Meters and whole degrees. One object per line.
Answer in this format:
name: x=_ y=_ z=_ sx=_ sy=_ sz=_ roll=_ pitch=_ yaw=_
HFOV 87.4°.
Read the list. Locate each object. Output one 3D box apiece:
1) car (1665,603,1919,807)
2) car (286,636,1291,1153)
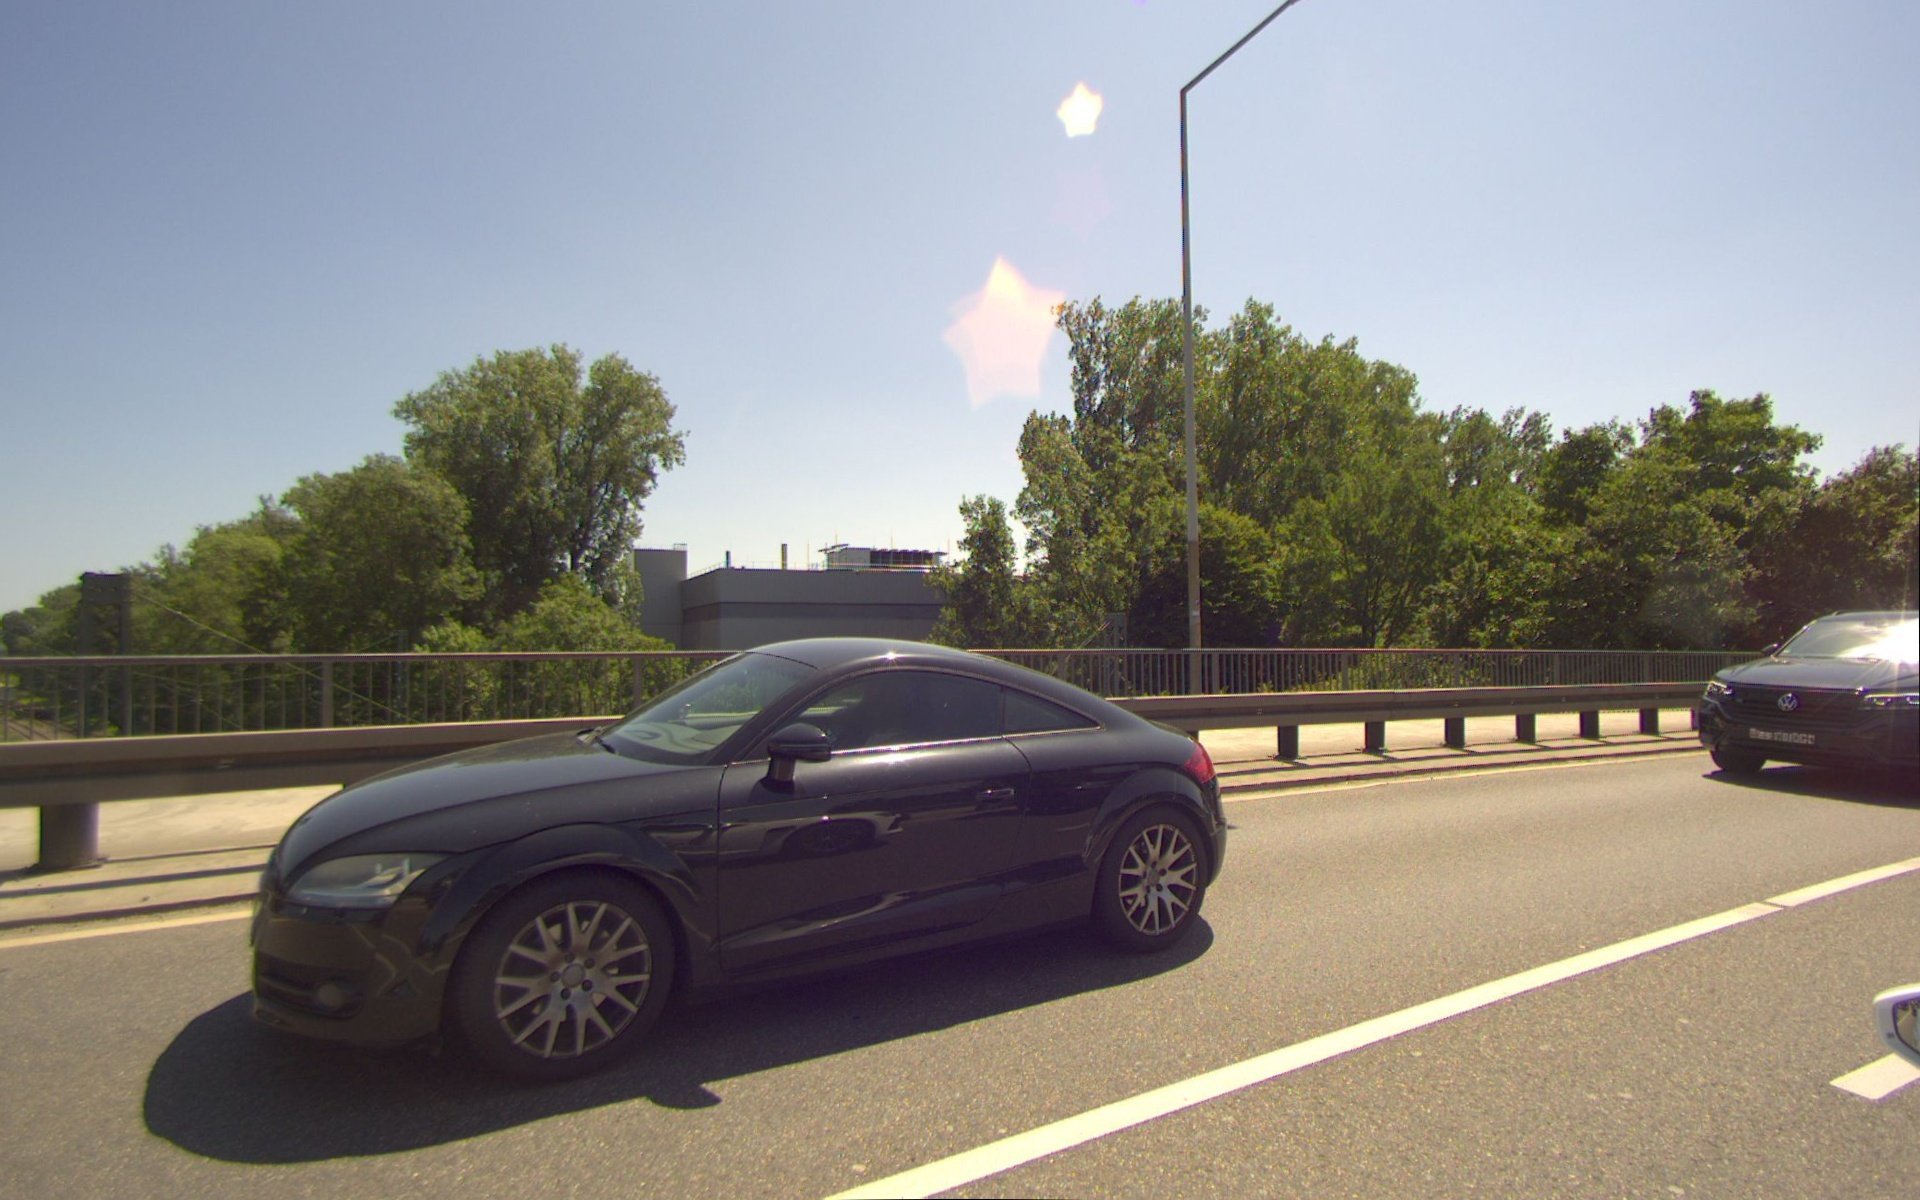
car: x=9.573 y=0.935 z=10.243 sx=4.552 sy=1.695 sz=1.960 roll=1 pitch=-1 yaw=-26
car: x=-0.535 y=0.847 z=4.417 sx=3.929 sy=1.325 sz=1.669 roll=2 pitch=-1 yaw=-32
